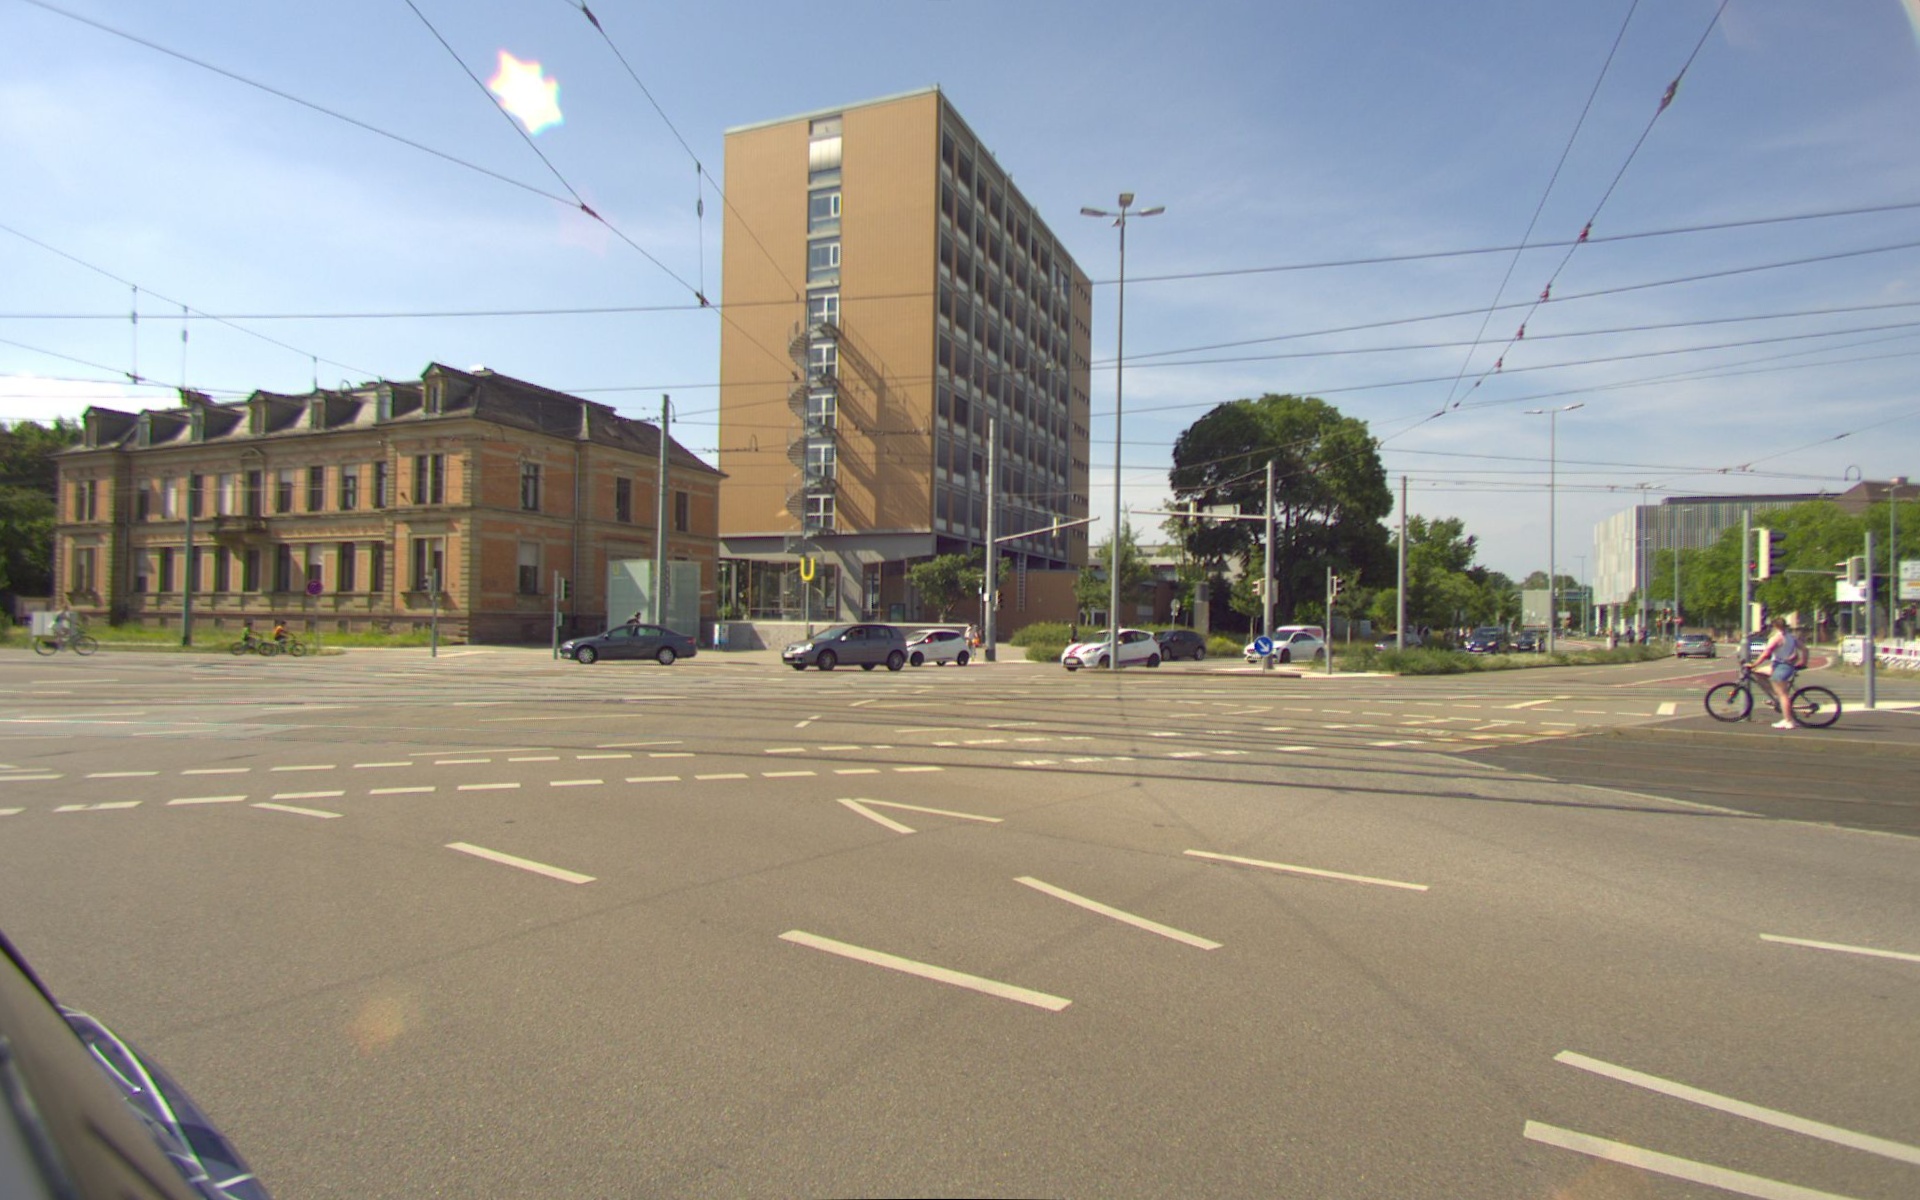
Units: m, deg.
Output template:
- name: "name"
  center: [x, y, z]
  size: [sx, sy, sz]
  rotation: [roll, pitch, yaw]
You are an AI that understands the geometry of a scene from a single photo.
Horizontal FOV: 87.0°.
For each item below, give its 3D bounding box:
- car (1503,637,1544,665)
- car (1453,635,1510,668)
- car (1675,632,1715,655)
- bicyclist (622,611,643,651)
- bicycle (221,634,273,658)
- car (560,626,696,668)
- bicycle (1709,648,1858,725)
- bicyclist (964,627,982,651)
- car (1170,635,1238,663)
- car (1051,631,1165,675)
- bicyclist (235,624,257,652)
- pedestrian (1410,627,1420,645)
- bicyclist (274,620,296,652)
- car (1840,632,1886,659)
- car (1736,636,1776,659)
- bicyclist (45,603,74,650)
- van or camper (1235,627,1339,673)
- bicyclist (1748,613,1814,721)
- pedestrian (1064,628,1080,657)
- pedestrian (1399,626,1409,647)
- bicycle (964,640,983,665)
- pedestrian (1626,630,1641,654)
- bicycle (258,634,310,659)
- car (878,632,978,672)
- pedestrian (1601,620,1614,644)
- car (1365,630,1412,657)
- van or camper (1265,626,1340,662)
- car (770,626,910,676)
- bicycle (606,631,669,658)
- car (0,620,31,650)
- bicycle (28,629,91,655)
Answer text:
- name: "car"
  center: [39.521, 3.528, 70.888]
  size: [1.996, 1.896, 4.375]
  rotation: [0, -2, 36]
- name: "car"
  center: [30.661, 2.996, 59.467]
  size: [1.965, 1.807, 3.943]
  rotation: [-1, -2, 43]
- name: "car"
  center: [45.192, 2.664, 62.224]
  size: [1.598, 1.296, 3.945]
  rotation: [-4, -4, 41]
- name: "bicyclist"
  center: [-13.544, 1.296, 41.857]
  size: [0.769, 1.636, 0.671]
  rotation: [1, -1, -14]
- name: "bicycle"
  center: [-26.870, 1.742, 38.146]
  size: [1.562, 0.872, 0.503]
  rotation: [2, -4, -39]
- name: "car"
  center: [-11.766, 1.674, 36.065]
  size: [4.451, 1.446, 1.641]
  rotation: [1, -2, -16]
- name: "bicycle"
  center: [13.450, 1.382, 16.558]
  size: [1.849, 1.092, 0.741]
  rotation: [2, 0, 42]
- name: "bicyclist"
  center: [0.597, 1.742, 45.583]
  size: [0.706, 1.036, 0.917]
  rotation: [1, 0, -4]
- name: "car"
  center: [12.216, 2.445, 50.618]
  size: [3.522, 1.305, 1.413]
  rotation: [2, -2, -37]
- name: "car"
  center: [5.065, 1.770, 34.365]
  size: [3.800, 1.425, 1.659]
  rotation: [2, -2, -37]
- name: "bicyclist"
  center: [-26.903, 1.429, 38.139]
  size: [0.596, 1.037, 0.503]
  rotation: [2, -4, -39]
- name: "pedestrian"
  center: [38.193, 3.034, 84.932]
  size: [0.641, 1.457, 0.563]
  rotation: [1, 0, 31]
- name: "bicyclist"
  center: [-25.320, 1.354, 37.973]
  size: [0.594, 1.206, 0.521]
  rotation: [3, -3, -41]
- name: "car"
  center: [51.230, 2.578, 57.484]
  size: [1.802, 1.431, 3.945]
  rotation: [-4, -4, 41]
- name: "car"
  center: [46.838, 2.772, 59.510]
  size: [1.598, 1.296, 3.945]
  rotation: [-4, -4, 41]
- name: "bicyclist"
  center: [-31.356, 0.925, 35.253]
  size: [0.639, 1.633, 0.503]
  rotation: [2, -4, -32]
- name: "van or camper"
  center: [14.531, 2.191, 44.867]
  size: [4.841, 1.902, 1.925]
  rotation: [2, -2, -36]
- name: "bicyclist"
  center: [13.450, 1.069, 16.581]
  size: [0.776, 1.697, 0.741]
  rotation: [1, 0, 42]
- name: "pedestrian"
  center: [6.652, 2.498, 60.023]
  size: [0.720, 1.676, 0.594]
  rotation: [1, 0, -38]
- name: "pedestrian"
  center: [37.445, 3.058, 85.370]
  size: [0.641, 1.777, 0.470]
  rotation: [1, 0, 32]
- name: "bicycle"
  center: [0.594, 2.353, 45.519]
  size: [0.706, 1.023, 1.921]
  rotation: [1, 1, -4]
- name: "pedestrian"
  center: [48.358, 3.006, 72.654]
  size: [0.740, 1.686, 0.645]
  rotation: [2, -2, -38]
- name: "bicycle"
  center: [-25.344, 1.743, 37.965]
  size: [1.551, 0.893, 0.521]
  rotation: [3, -3, -41]
- name: "car"
  center: [-1.255, 2.048, 40.394]
  size: [3.698, 1.486, 1.686]
  rotation: [2, -2, -37]
- name: "pedestrian"
  center: [47.031, 2.326, 73.503]
  size: [0.740, 1.686, 0.543]
  rotation: [2, -2, -38]
- name: "car"
  center: [27.288, 2.721, 64.412]
  size: [1.907, 1.630, 3.951]
  rotation: [0, -2, 36]
- name: "van or camper"
  center: [19.124, 2.445, 56.365]
  size: [4.844, 1.902, 1.733]
  rotation: [2, -2, -40]
- name: "car"
  center: [-3.663, 1.544, 31.257]
  size: [4.054, 1.435, 1.654]
  rotation: [2, -2, -39]
- name: "bicycle"
  center: [-13.345, 1.859, 41.966]
  size: [2.422, 1.077, 0.671]
  rotation: [1, -2, -14]
- name: "car"
  center: [-44.987, 1.599, 46.712]
  size: [3.426, 1.323, 1.661]
  rotation: [0, -2, 20]
- name: "bicycle"
  center: [-31.324, 1.470, 35.221]
  size: [1.560, 0.872, 0.503]
  rotation: [2, -4, -32]
